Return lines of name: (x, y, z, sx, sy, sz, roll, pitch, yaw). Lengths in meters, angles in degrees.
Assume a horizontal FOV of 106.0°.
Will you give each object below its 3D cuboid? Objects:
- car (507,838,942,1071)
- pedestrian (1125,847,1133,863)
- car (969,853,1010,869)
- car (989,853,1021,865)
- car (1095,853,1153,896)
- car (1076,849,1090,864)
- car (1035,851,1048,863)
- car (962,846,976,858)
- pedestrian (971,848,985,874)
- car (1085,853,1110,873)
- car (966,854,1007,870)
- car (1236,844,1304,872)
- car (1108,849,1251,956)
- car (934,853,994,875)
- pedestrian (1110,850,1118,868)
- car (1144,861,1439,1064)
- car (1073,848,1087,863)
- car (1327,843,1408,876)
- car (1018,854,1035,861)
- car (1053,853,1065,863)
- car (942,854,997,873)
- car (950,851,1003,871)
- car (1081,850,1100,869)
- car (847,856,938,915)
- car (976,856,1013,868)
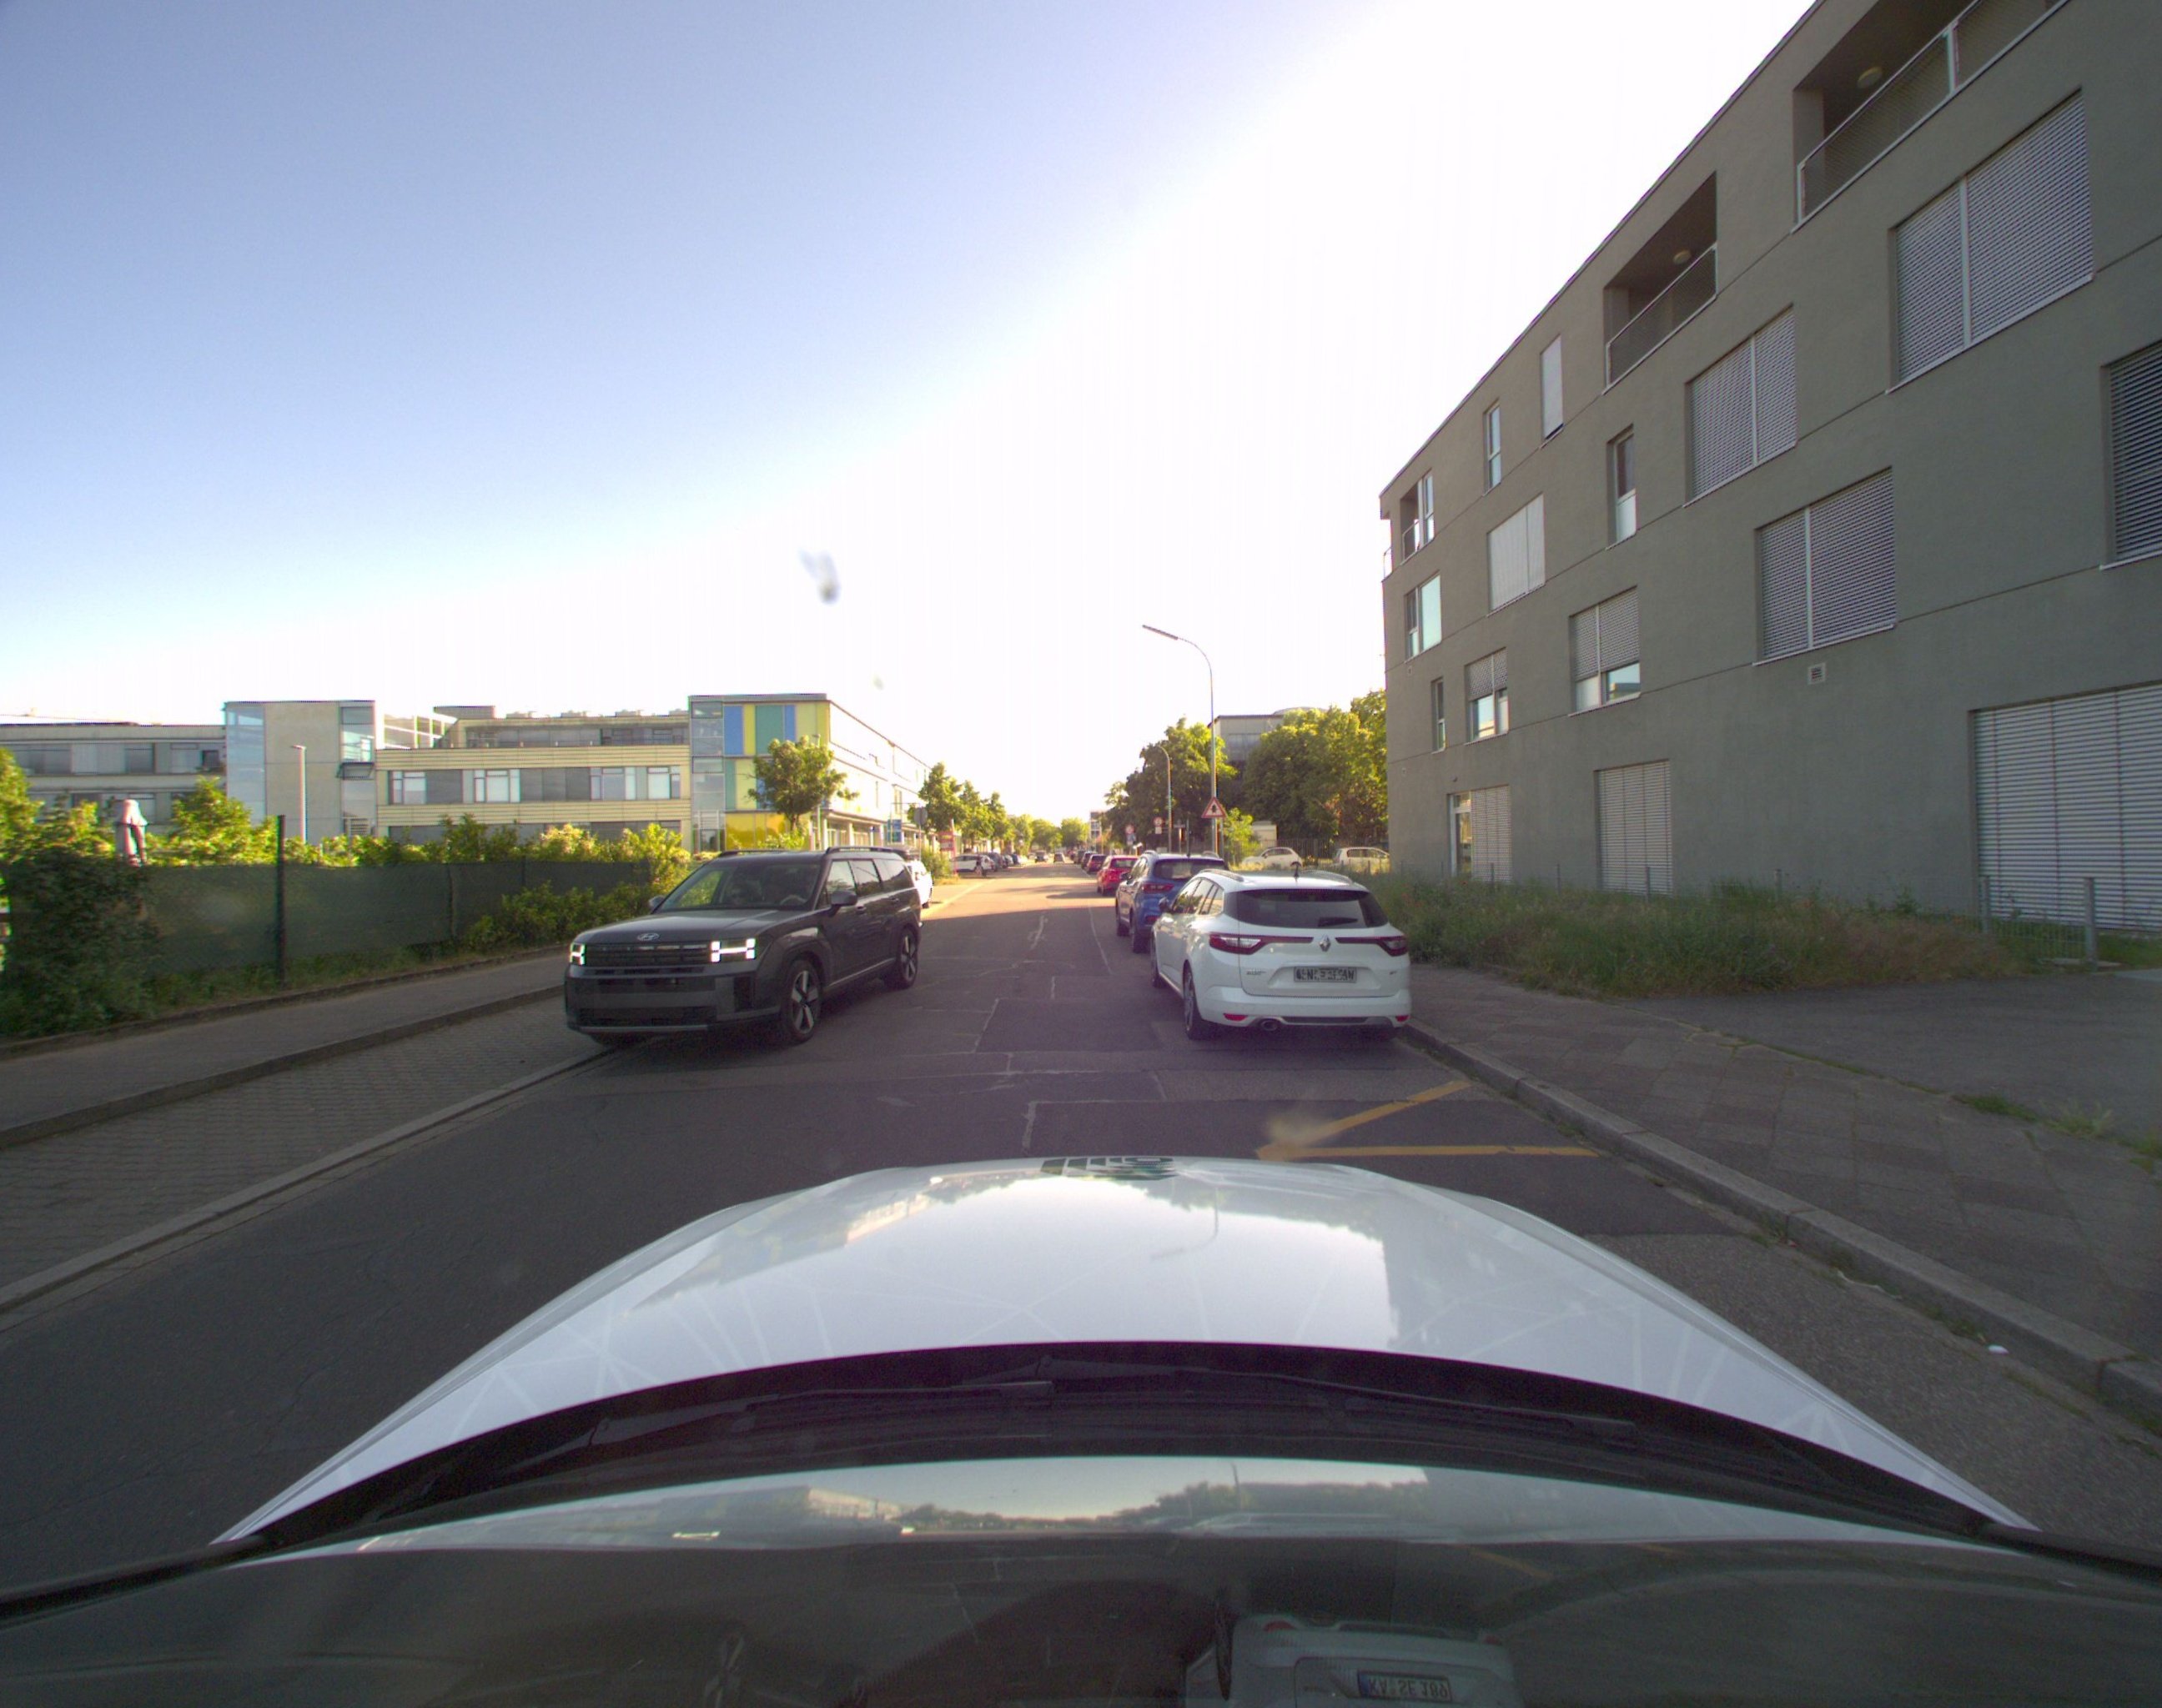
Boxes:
car: (-3.172, 0.767, 8.653, 1.932, 1.727, 4.848, -3, 0, 7)
pedestrian: (5.040, 0.097, 85.587, 0.696, 1.661, 0.751, -4, 0, -2)
car: (-9.507, 0.720, 85.057, 4.240, 1.611, 2.044, 0, 0, -6)
car: (-10.082, 0.662, 107.856, 4.208, 1.603, 1.868, 0, 0, -6)
car: (1.568, 0.721, 30.897, 1.814, 1.499, 4.448, 0, 0, -2)
car: (0.233, 0.356, 104.321, 1.728, 1.830, 3.903, -1, 0, -1)
car: (-6.392, 0.522, 131.760, 1.951, 1.867, 5.248, -1, 0, -4)
car: (-20.136, -0.333, 146.238, 1.988, 2.014, 3.997, -1, -1, -2)
pedestrian: (-7.490, 0.506, 59.369, 0.855, 1.842, 0.825, 0, 0, 0)
car: (1.256, 0.692, 63.357, 1.715, 1.455, 4.648, 0, 0, -2)
car: (-9.505, 0.763, 82.102, 3.981, 1.607, 1.868, 0, 0, -6)
car: (10.984, 0.234, 47.396, 3.536, 1.486, 1.600, -2, 0, -1)
car: (1.567, 0.723, 14.545, 1.812, 1.599, 4.623, 0, 0, -3)
car: (-9.567, 0.831, 66.781, 4.595, 1.651, 1.868, -1, 0, 1)
pedestrian: (3.292, 0.460, 81.175, 0.715, 1.758, 0.884, -4, 0, -1)
car: (1.720, 0.814, 8.240, 1.740, 1.429, 4.583, 0, 0, -1)
car: (-0.139, 0.207, 116.796, 1.870, 1.978, 3.997, -2, 0, -2)
car: (13.746, 0.266, 39.180, 3.312, 1.458, 1.716, -2, 0, 3)
car: (-12.776, 0.784, 191.357, 3.976, 1.519, 1.999, -1, -1, -2)
car: (-3.388, 0.614, 125.606, 1.739, 1.543, 3.997, -1, 0, -2)
car: (-9.508, 0.812, 69.461, 4.422, 1.501, 1.826, -1, 0, -2)
car: (-9.587, 0.648, 75.002, 4.729, 1.865, 1.826, 0, 0, -2)
car: (0.893, 0.506, 79.384, 1.806, 1.666, 4.591, 0, 1, -1)
car: (-5.346, 0.839, 23.632, 1.691, 1.513, 4.514, 1, 0, -2)
car: (-9.595, 0.857, 90.672, 3.981, 1.358, 1.740, 0, 0, -6)
